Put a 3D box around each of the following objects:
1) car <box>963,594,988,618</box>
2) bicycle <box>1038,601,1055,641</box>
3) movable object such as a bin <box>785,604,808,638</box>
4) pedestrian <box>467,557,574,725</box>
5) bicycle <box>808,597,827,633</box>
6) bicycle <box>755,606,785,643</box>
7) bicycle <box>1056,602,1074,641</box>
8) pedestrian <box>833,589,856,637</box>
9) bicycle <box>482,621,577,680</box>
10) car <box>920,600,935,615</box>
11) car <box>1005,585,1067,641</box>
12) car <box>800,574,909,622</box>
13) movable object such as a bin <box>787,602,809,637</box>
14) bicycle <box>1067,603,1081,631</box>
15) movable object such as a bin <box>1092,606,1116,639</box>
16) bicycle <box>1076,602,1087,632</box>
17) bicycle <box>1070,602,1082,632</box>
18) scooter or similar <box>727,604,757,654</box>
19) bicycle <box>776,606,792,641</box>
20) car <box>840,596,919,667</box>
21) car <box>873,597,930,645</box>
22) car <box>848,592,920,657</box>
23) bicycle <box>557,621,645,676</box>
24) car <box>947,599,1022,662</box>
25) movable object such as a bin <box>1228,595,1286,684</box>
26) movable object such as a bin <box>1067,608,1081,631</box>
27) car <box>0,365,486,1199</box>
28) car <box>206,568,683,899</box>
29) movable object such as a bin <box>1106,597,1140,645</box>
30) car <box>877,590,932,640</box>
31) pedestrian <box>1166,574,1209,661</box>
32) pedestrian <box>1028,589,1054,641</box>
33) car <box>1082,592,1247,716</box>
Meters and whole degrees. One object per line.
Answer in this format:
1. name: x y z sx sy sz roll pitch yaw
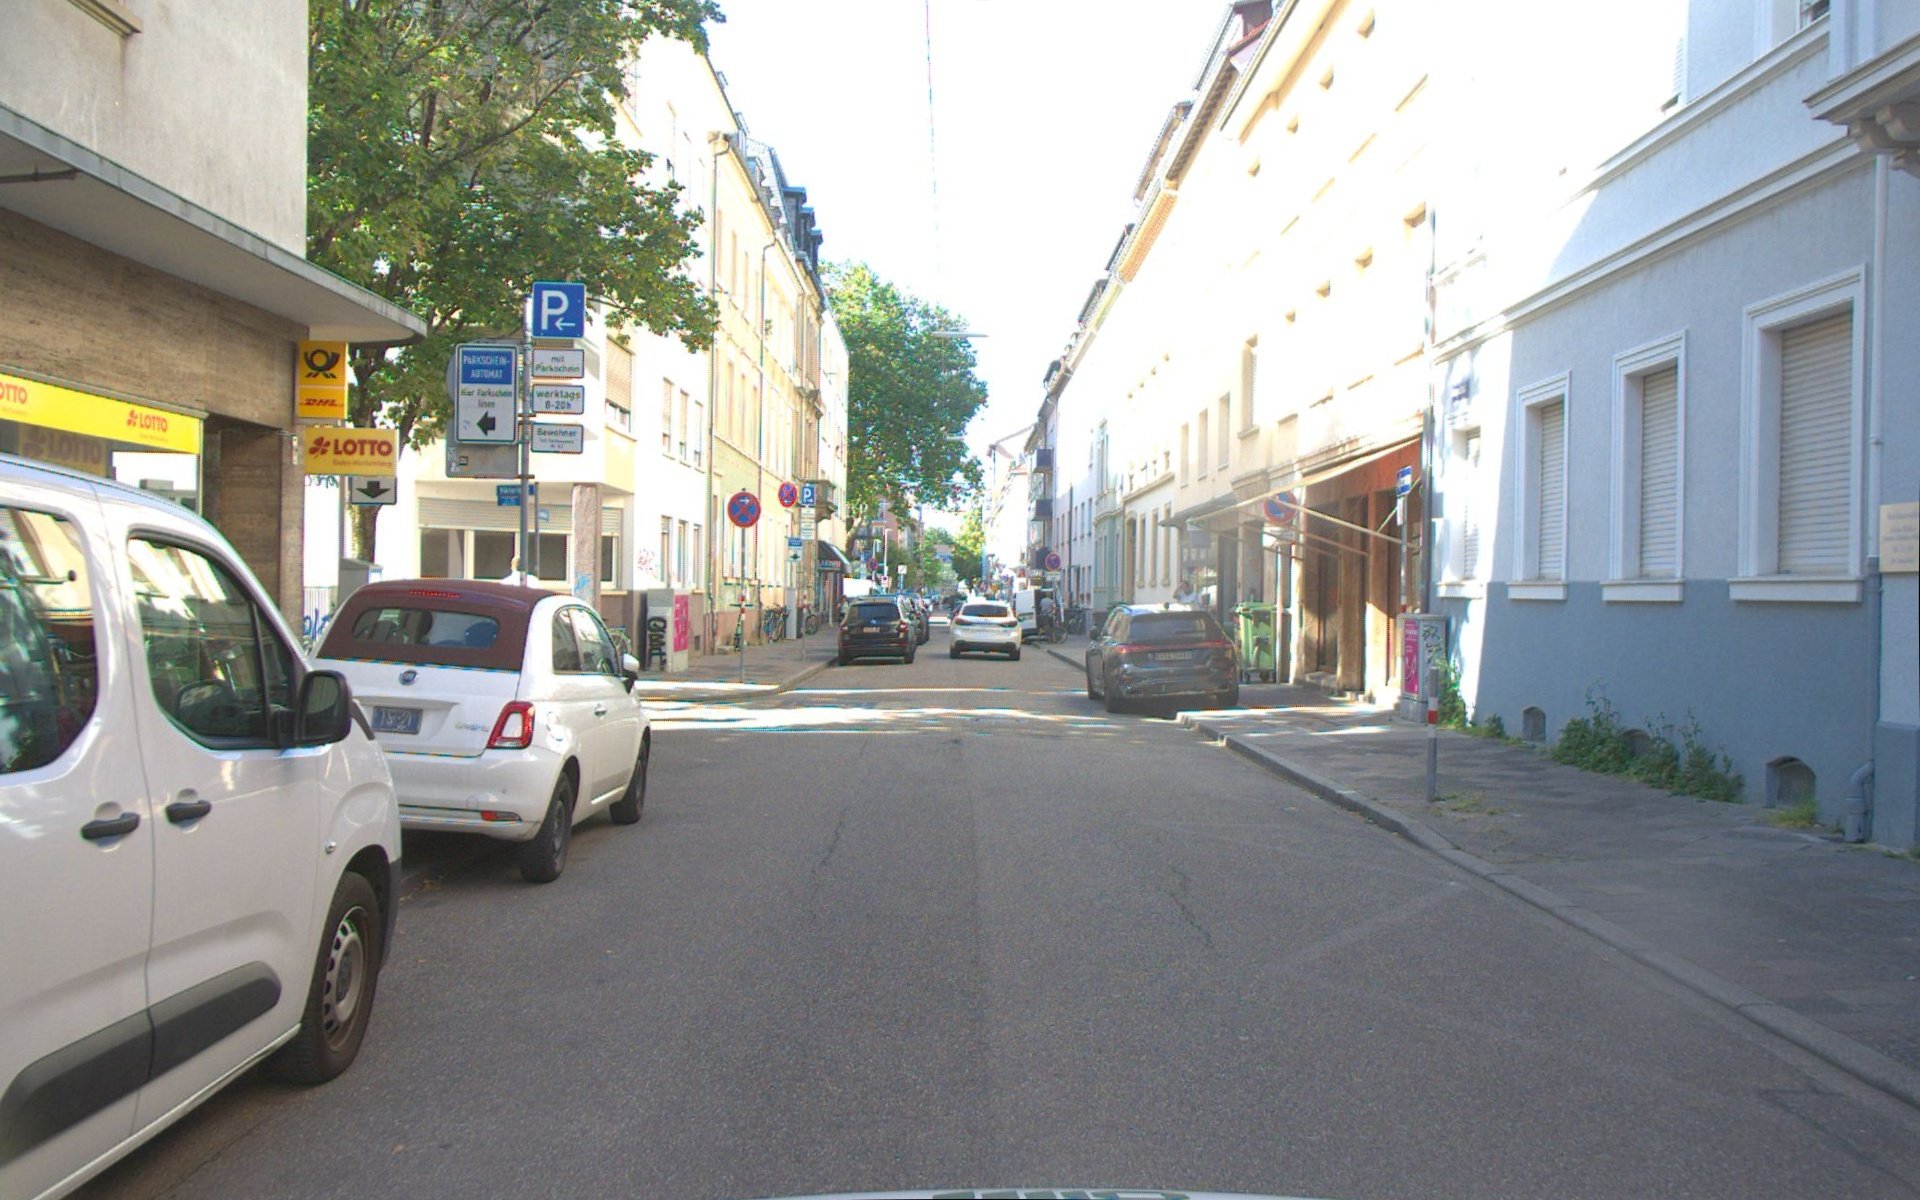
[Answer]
1. car: 1.353 0.510 145.357 1.904 1.982 4.076 1 0 -3
2. bicycle: 2.982 0.716 56.694 0.563 1.344 2.200 -1 0 3
3. movable object such as a bin: -5.406 0.683 54.642 0.721 1.108 0.682 0 1 -4
4. pedestrian: -5.048 0.467 19.061 0.892 1.865 1.245 0 -1 -1
5. bicycle: -5.287 0.546 61.262 0.500 1.299 1.867 0 -1 1
6. bicycle: -5.489 0.700 47.963 0.353 1.046 1.919 0 -1 9
7. bicycle: 3.620 0.719 57.023 0.563 1.293 2.200 -2 0 3
8. pedestrian: -4.245 0.477 61.040 0.749 1.744 0.883 2 0 -1
9. bicycle: -7.082 0.818 27.237 0.397 0.913 1.577 0 0 40
10. car: -3.427 0.796 174.309 1.540 1.613 3.611 0 -1 0
11. car: 2.813 0.449 62.656 1.943 1.916 5.598 -3 0 -1
12. car: -6.682 -0.102 105.306 6.601 2.599 2.146 4 -1 1
13. movable object such as a bin: -5.427 0.658 55.263 0.705 1.152 0.584 0 -1 -4
14. bicycle: 4.880 0.731 70.813 0.556 1.173 1.869 0 -1 4
15. movable object such as a bin: 4.963 0.773 56.889 0.780 1.115 0.642 0 -1 2
16. bicycle: 5.026 0.695 68.390 0.396 1.227 2.160 0 -1 3
17. bicycle: 4.899 0.709 69.724 0.428 1.227 2.267 0 -1 6
18. scooter or similar: -5.393 0.717 40.970 0.444 1.202 1.691 0 -1 2
19. bicycle: -5.452 0.722 51.312 0.394 1.074 1.835 0 -1 -3
20. car: -1.851 0.701 39.339 1.679 1.514 4.851 -2 0 -1
21. car: -1.942 0.689 55.759 1.678 1.558 4.367 0 0 1
22. car: -2.024 0.619 45.197 1.708 1.643 4.603 -1 0 0
23. bicycle: -6.194 0.829 28.584 0.423 0.897 1.562 2 1 39
24. car: 0.586 0.743 42.512 1.786 1.540 3.823 0 0 -1
25. movable object such as a bin: 5.101 0.667 28.486 0.731 1.461 1.372 -2 0 1
26. movable object such as a bin: 4.970 0.849 72.081 0.565 0.940 0.607 -2 0 0
27. car: -2.581 0.562 3.704 1.731 1.932 4.807 -1 0 -2
28. car: -2.799 0.645 9.847 1.633 1.588 3.722 0 0 0
29. movable object such as a bin: 4.942 0.642 50.296 0.820 1.414 1.296 -2 -2 -2
30. car: -2.016 0.545 61.278 1.896 1.766 5.141 0 0 0
31. pedestrian: 5.106 0.387 37.144 0.639 1.892 0.744 -2 0 -22
32. pedestrian: 2.905 0.537 59.345 0.863 1.869 0.868 0 -1 -2
33. car: 2.876 0.715 24.254 1.764 1.606 4.896 1 0 0
